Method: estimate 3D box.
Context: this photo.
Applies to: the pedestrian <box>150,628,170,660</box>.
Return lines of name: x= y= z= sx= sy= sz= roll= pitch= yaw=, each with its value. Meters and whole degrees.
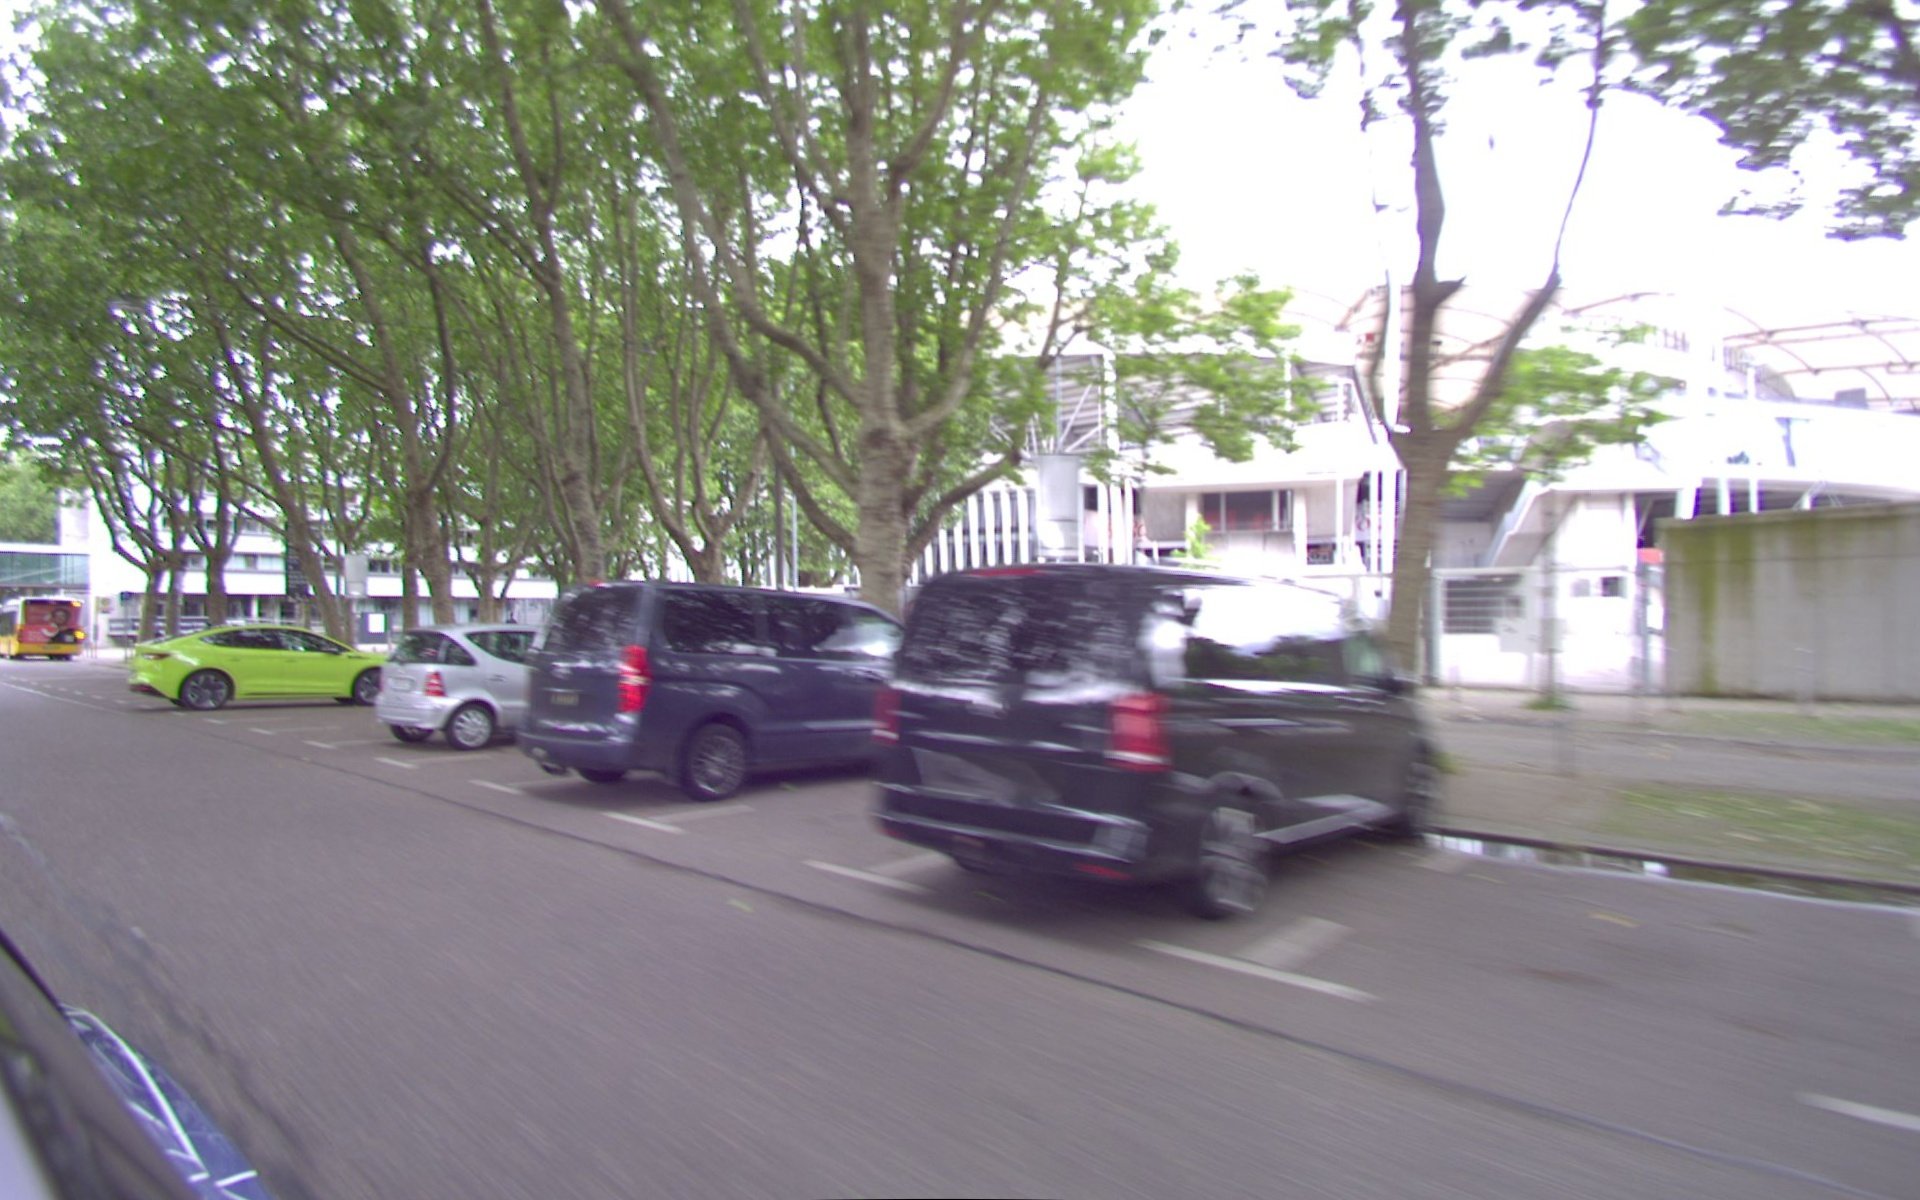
pedestrian: x=-40.567 y=2.241 z=51.306 sx=0.912 sy=1.601 sz=0.655 roll=-2 pitch=-1 yaw=41

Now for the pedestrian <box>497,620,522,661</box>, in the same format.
pedestrian: x=-20.080 y=1.796 z=45.075 sx=0.874 sy=1.767 sz=0.697 roll=-2 pitch=-1 yaw=41

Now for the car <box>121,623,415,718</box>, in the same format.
car: x=-13.367 y=1.280 z=19.767 sx=1.758 sy=1.630 sz=4.466 roll=-2 pitch=-2 yaw=43

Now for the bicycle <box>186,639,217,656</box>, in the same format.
bicycle: x=-57.822 y=3.641 z=77.161 sx=0.470 sy=1.196 sz=1.808 roll=-2 pitch=-1 yaw=38

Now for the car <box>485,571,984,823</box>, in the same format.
car: x=-1.984 y=0.888 z=10.296 sx=2.016 sy=1.939 sz=4.715 roll=-2 pitch=-4 yaw=39

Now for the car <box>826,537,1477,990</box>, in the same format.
car: x=1.656 y=0.812 z=6.920 sx=2.207 sy=1.939 sz=4.853 roll=-2 pitch=-3 yaw=41

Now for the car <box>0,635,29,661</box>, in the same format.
car: x=-62.048 y=3.063 z=65.662 sx=4.383 sy=1.578 sz=1.736 roll=-2 pitch=-6 yaw=40

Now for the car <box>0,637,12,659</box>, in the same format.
car: x=-68.340 y=3.320 z=71.283 sx=4.007 sy=1.526 sz=1.735 roll=-2 pitch=-6 yaw=41

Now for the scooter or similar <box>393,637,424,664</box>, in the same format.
scooter or similar: x=-24.867 y=2.276 z=45.631 sx=1.169 sy=1.182 sz=0.445 roll=0 pitch=-1 yaw=-44

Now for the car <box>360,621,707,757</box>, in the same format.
car: x=-5.695 y=1.164 z=13.977 sx=1.754 sy=1.581 sz=4.067 roll=-2 pitch=-4 yaw=36

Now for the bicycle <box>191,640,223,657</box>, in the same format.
bicycle: x=-56.858 y=3.629 z=76.430 sx=0.568 sy=1.196 sz=1.894 roll=-2 pitch=-1 yaw=38

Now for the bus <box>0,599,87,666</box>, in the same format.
bus: x=-48.927 y=1.764 z=53.513 sx=12.367 sy=3.179 sz=2.622 roll=-2 pitch=-5 yaw=43
